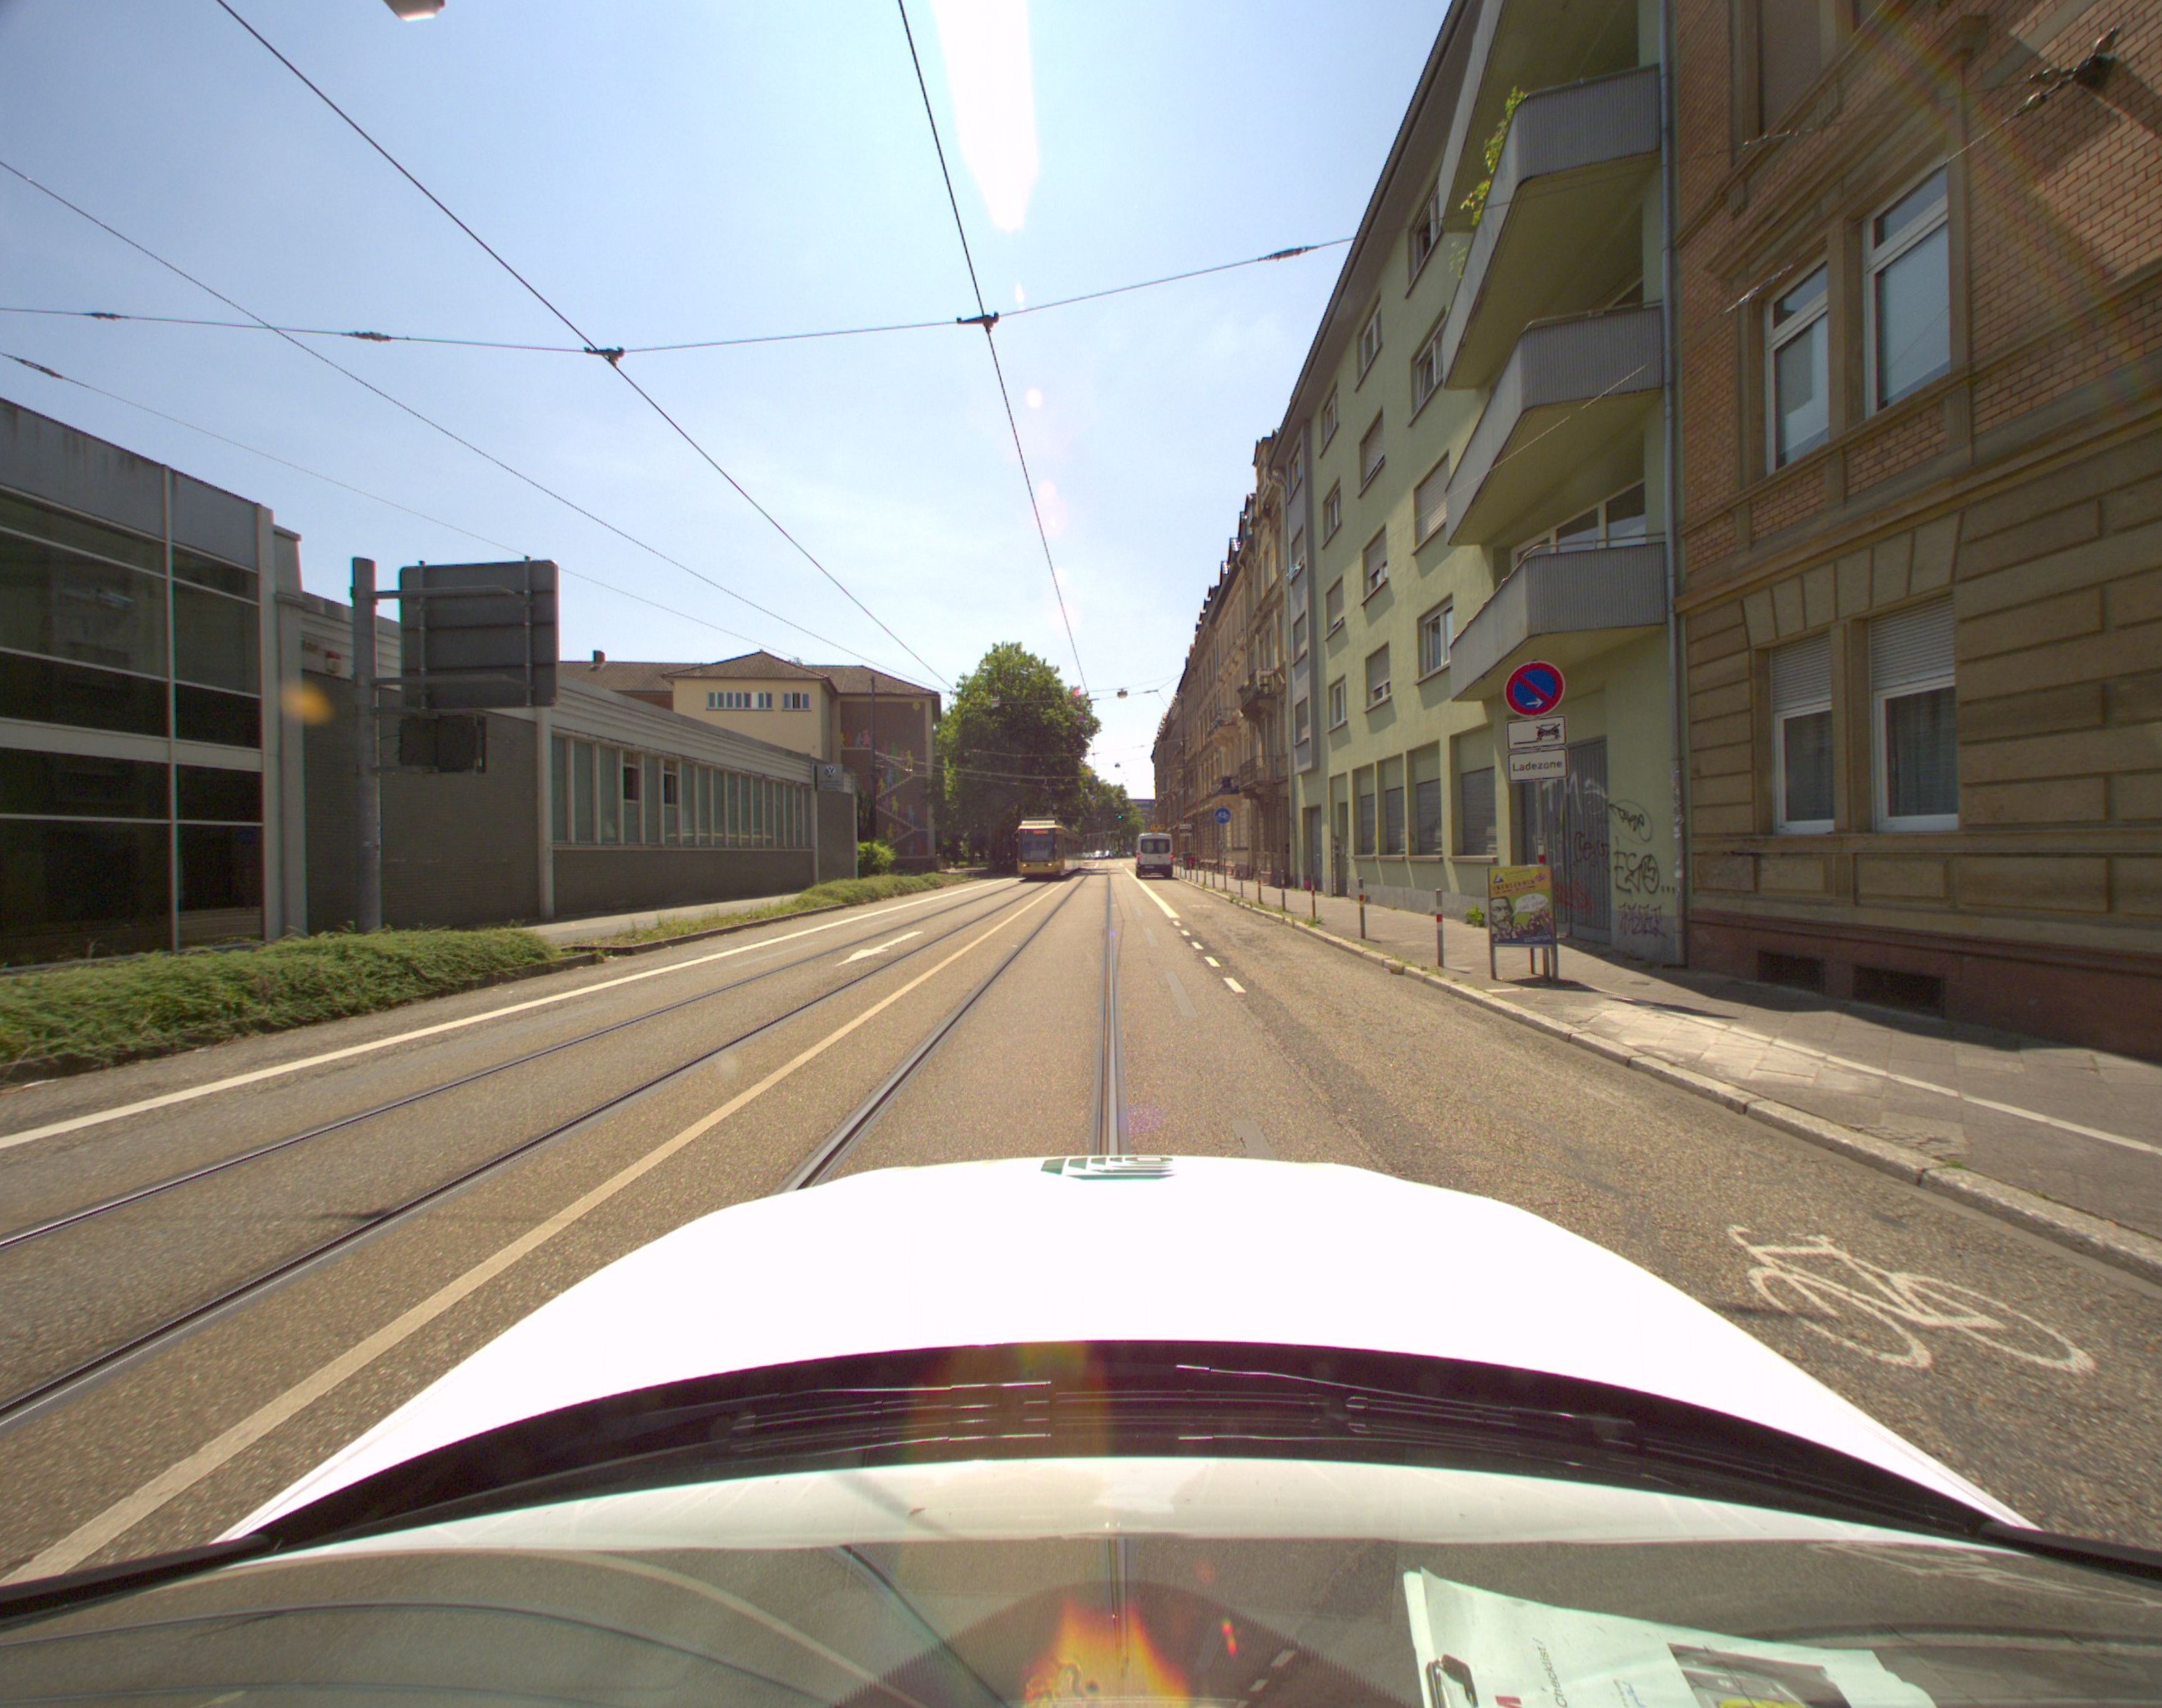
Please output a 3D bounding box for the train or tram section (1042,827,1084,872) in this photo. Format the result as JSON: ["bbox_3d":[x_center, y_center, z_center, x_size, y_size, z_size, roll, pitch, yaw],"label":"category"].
[{"bbox_3d":[-1.430,-0.386,71.950,2.950,3.580,13.428,-1,0,2],"label":"train or tram section"}]

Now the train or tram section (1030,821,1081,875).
[{"bbox_3d":[-1.723,-0.404,61.704,2.950,3.580,13.428,-1,0,2],"label":"train or tram section"}]

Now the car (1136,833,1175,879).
[{"bbox_3d":[4.248,0.099,47.321,2.059,2.501,5.458,0,0,3],"label":"car"}]

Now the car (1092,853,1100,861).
[{"bbox_3d":[3.033,0.609,162.309,1.523,1.408,3.489,0,0,0],"label":"car"}]

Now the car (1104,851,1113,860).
[{"bbox_3d":[5.663,0.270,168.845,1.669,1.860,3.999,0,0,-1],"label":"car"}]

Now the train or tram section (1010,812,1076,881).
[{"bbox_3d":[-2.057,-0.425,49.529,2.950,3.580,13.428,-1,0,2],"label":"train or tram section"}]
